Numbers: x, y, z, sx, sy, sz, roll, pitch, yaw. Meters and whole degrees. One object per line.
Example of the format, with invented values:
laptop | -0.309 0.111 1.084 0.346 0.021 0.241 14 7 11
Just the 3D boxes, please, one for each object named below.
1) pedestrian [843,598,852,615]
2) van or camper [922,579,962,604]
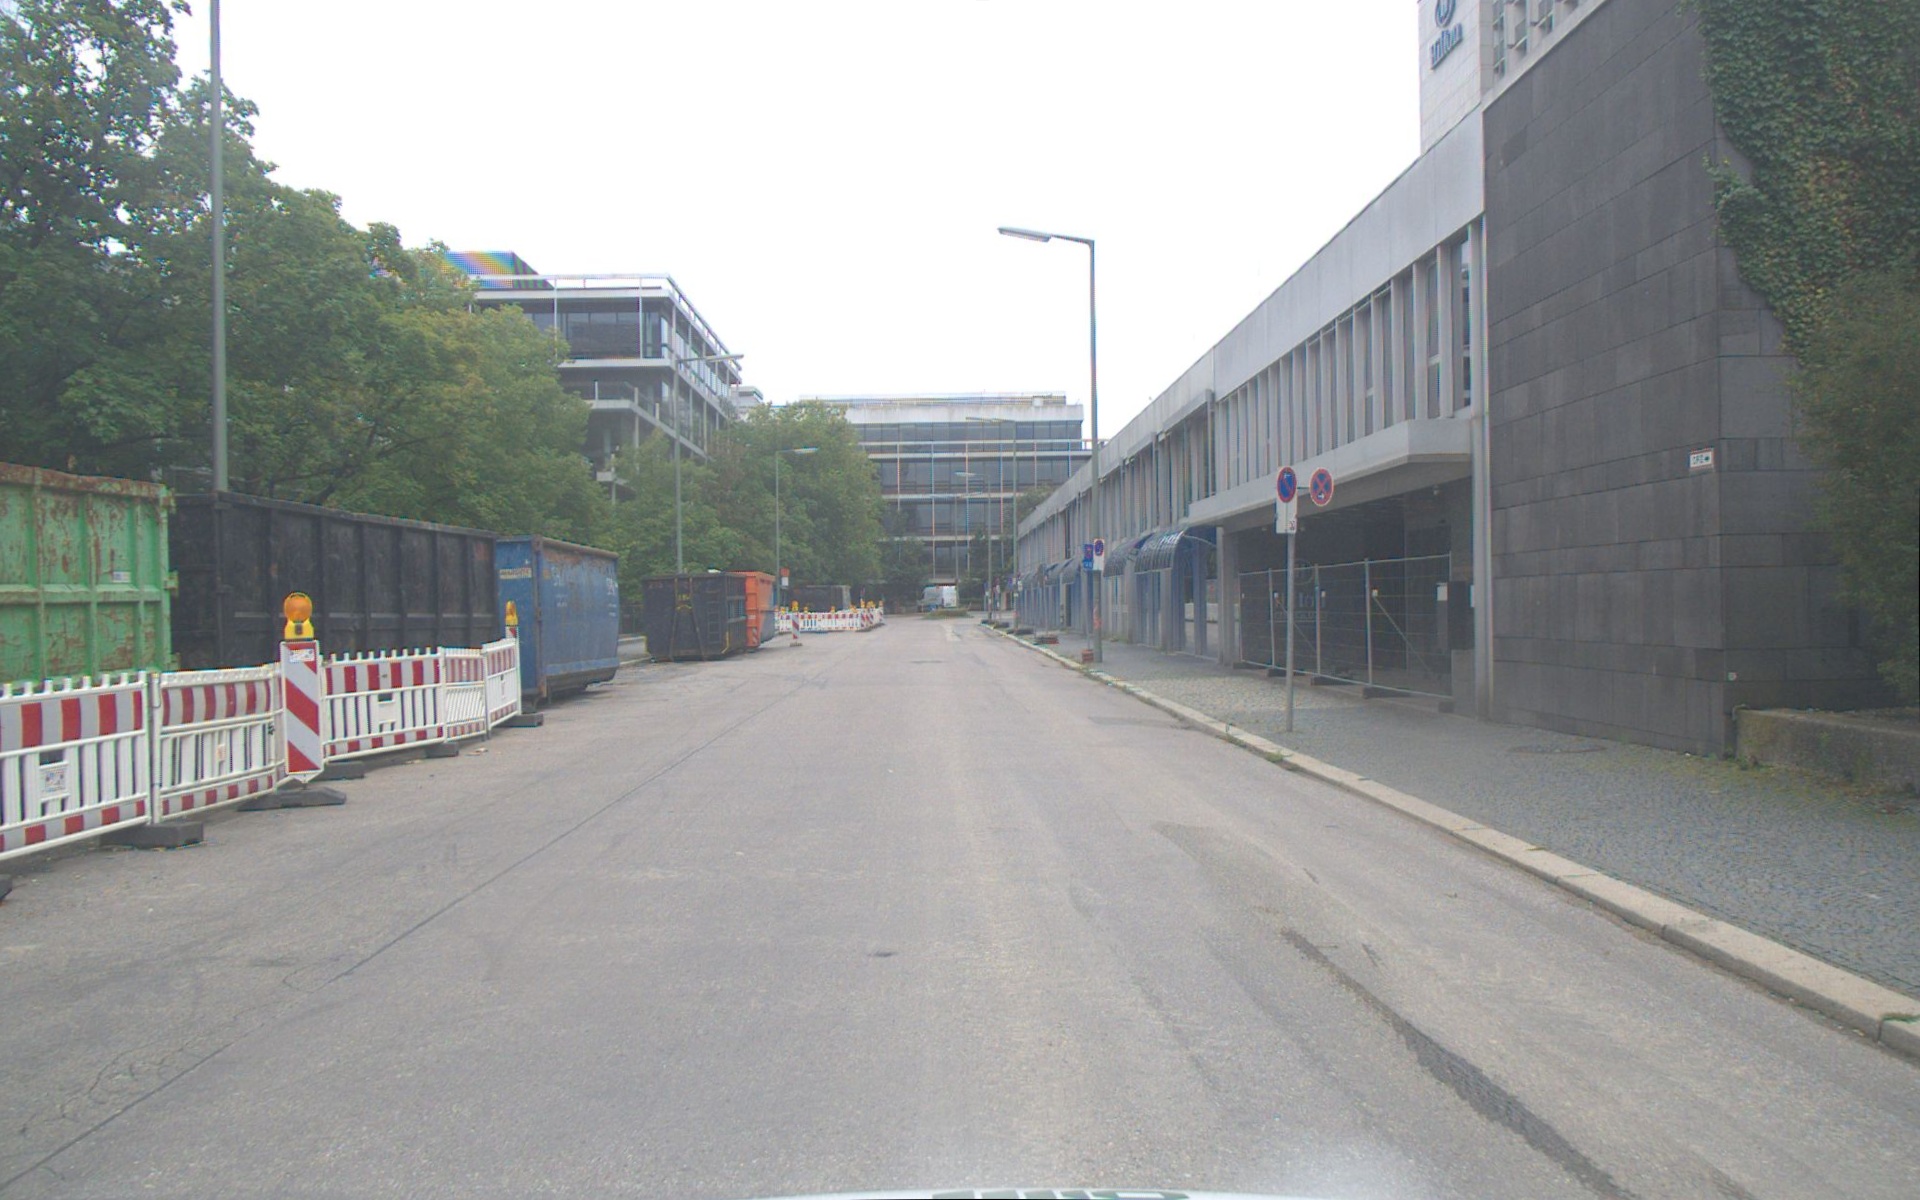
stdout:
pedestrian | -11.319 0.656 166.901 0.730 1.706 0.678 0 0 -20
van or camper | -1.840 -0.844 168.411 2.060 2.535 5.024 0 0 -26
